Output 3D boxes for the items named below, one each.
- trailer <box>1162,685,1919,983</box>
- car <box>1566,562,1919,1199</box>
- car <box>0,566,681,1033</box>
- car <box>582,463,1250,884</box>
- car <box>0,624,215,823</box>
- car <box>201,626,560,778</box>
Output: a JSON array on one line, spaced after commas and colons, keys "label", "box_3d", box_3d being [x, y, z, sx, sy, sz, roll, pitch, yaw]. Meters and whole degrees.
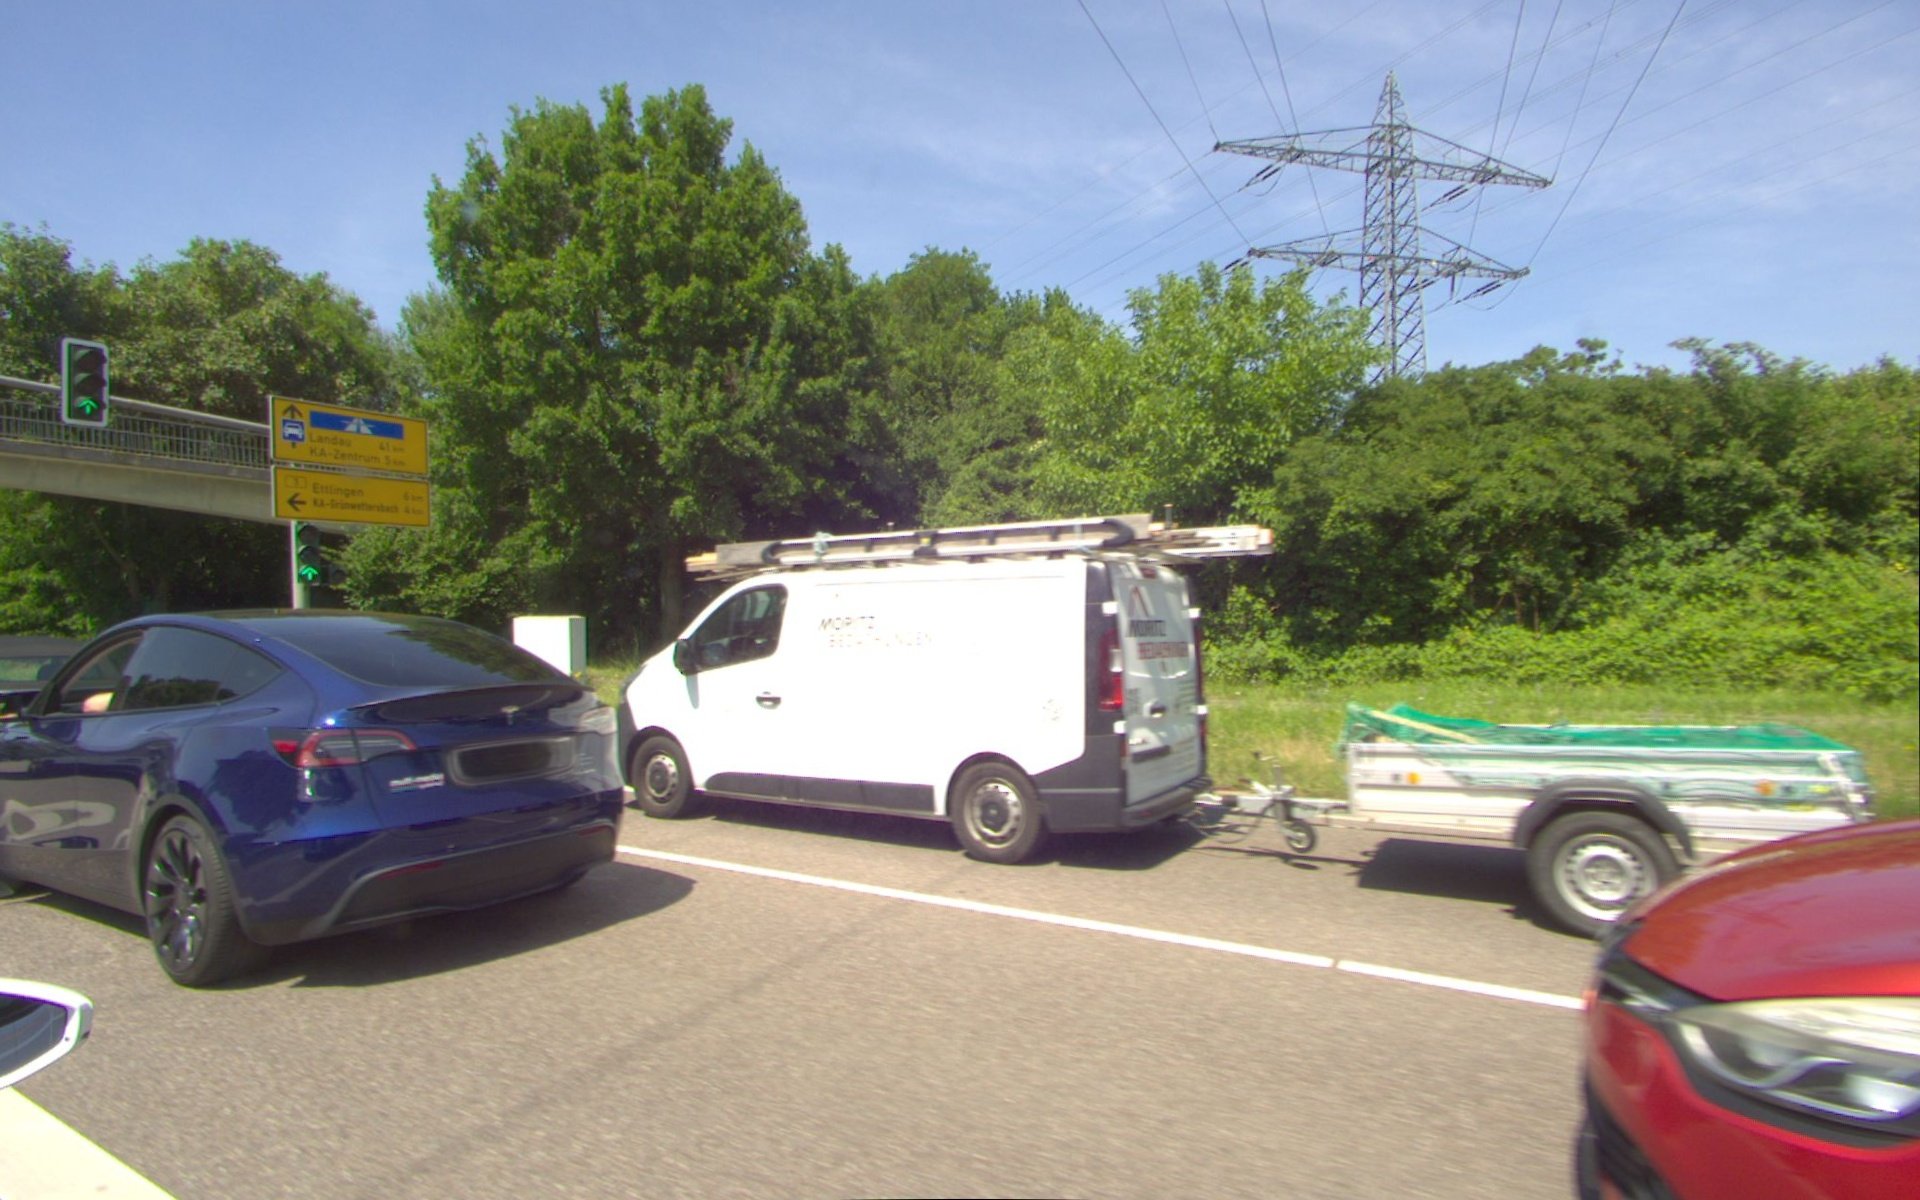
[{"label": "trailer", "box_3d": [2.974, 1.067, 5.544, 3.276, 1.019, 1.703, -1, -2, 32]}, {"label": "car", "box_3d": [3.207, 0.680, 1.395, 4.006, 1.480, 1.740, -1, -2, 31]}, {"label": "car", "box_3d": [-3.836, 0.775, 5.554, 4.454, 1.665, 1.898, -1, -2, 31]}, {"label": "car", "box_3d": [-0.511, 0.488, 7.806, 5.002, 2.379, 1.929, -1, -2, 32]}, {"label": "car", "box_3d": [-8.635, 0.977, 8.952, 3.883, 1.496, 1.897, -1, -2, 32]}, {"label": "car", "box_3d": [-6.910, 1.068, 11.845, 4.318, 1.496, 1.897, -1, -2, 32]}]
